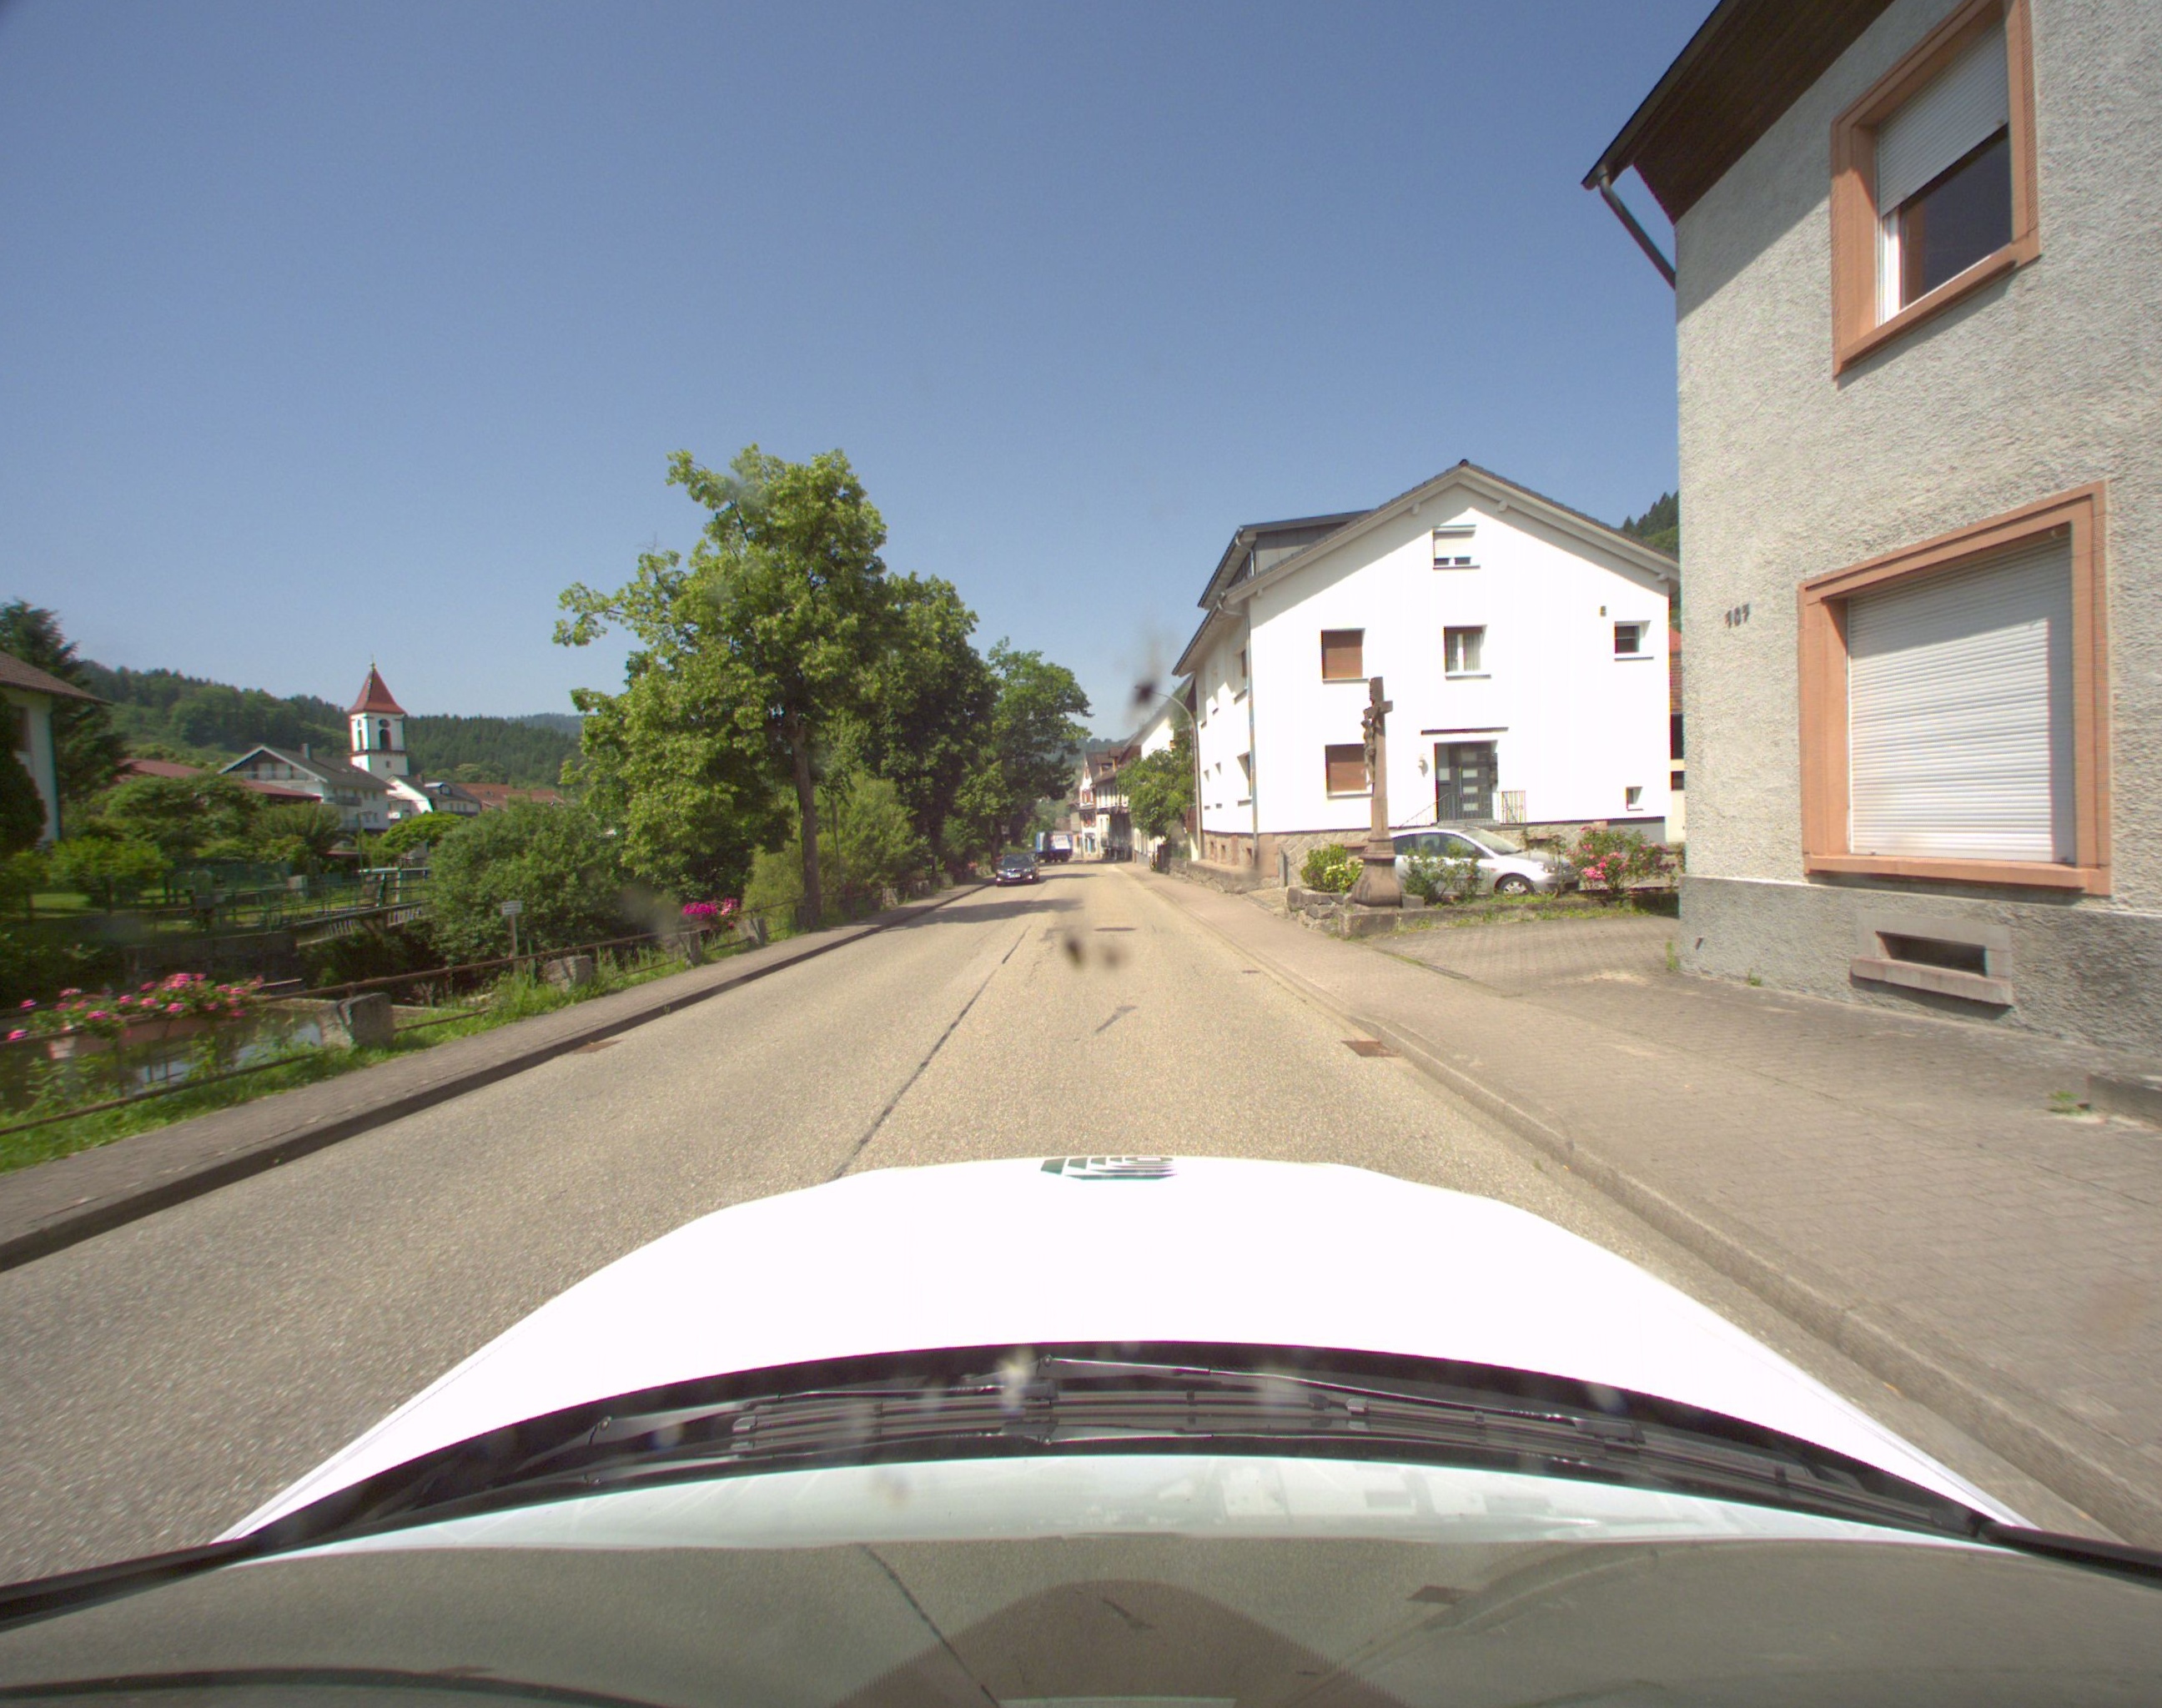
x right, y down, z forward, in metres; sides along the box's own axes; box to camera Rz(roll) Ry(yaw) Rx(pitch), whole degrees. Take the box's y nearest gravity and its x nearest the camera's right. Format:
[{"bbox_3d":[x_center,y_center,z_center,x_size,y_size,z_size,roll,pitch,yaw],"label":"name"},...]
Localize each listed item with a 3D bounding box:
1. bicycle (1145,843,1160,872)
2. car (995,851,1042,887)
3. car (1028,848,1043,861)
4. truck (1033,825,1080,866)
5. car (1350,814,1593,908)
[{"bbox_3d":[3.657,0.163,41.753,0.424,1.396,2.277,-6,1,1],"label":"bicycle"},{"bbox_3d":[-2.812,0.636,37.240,1.661,1.418,4.087,-4,0,1],"label":"car"},{"bbox_3d":[-6.989,0.065,124.306,1.775,1.734,3.985,-6,-1,-10],"label":"car"},{"bbox_3d":[-2.772,-0.850,90.024,3.367,3.782,8.402,-6,-1,-13],"label":"truck"},{"bbox_3d":[7.225,0.127,15.303,1.620,1.426,3.729,-8,5,-44],"label":"car"}]
